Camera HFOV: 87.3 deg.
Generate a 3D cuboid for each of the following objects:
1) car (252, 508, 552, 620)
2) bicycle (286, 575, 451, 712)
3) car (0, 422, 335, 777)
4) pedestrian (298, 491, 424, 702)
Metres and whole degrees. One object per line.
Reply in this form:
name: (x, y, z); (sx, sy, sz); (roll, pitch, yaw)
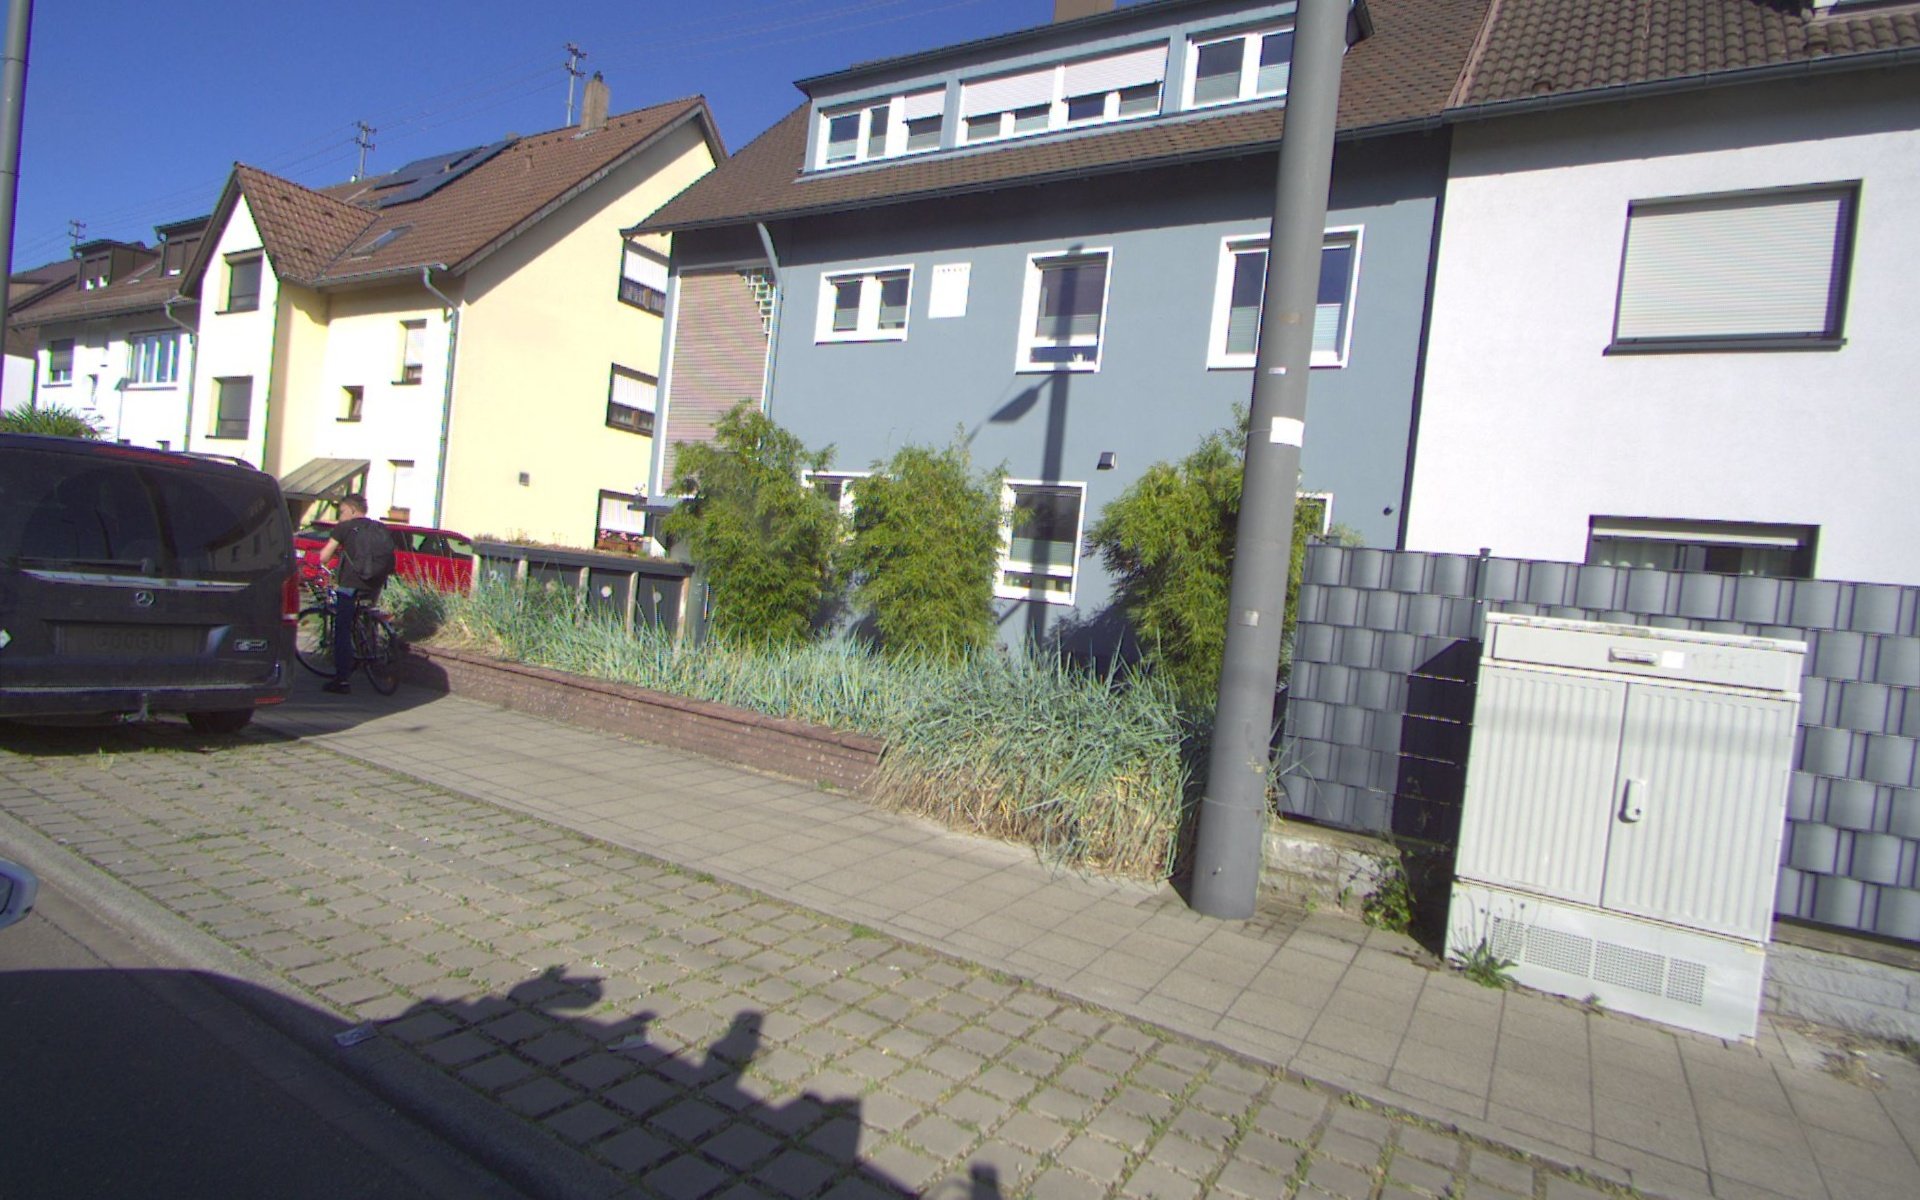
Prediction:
car: (-9.635, -0.558, 17.699); (1.868, 1.486, 4.168); (8, 1, 31)
bicycle: (-5.173, 0.346, 8.770); (1.537, 0.993, 0.600); (6, 3, 34)
car: (-6.742, -0.191, 7.074); (4.845, 1.860, 1.963); (7, 1, 32)
pedestrian: (-5.261, -0.030, 8.838); (0.703, 1.746, 0.582); (7, 2, 33)
